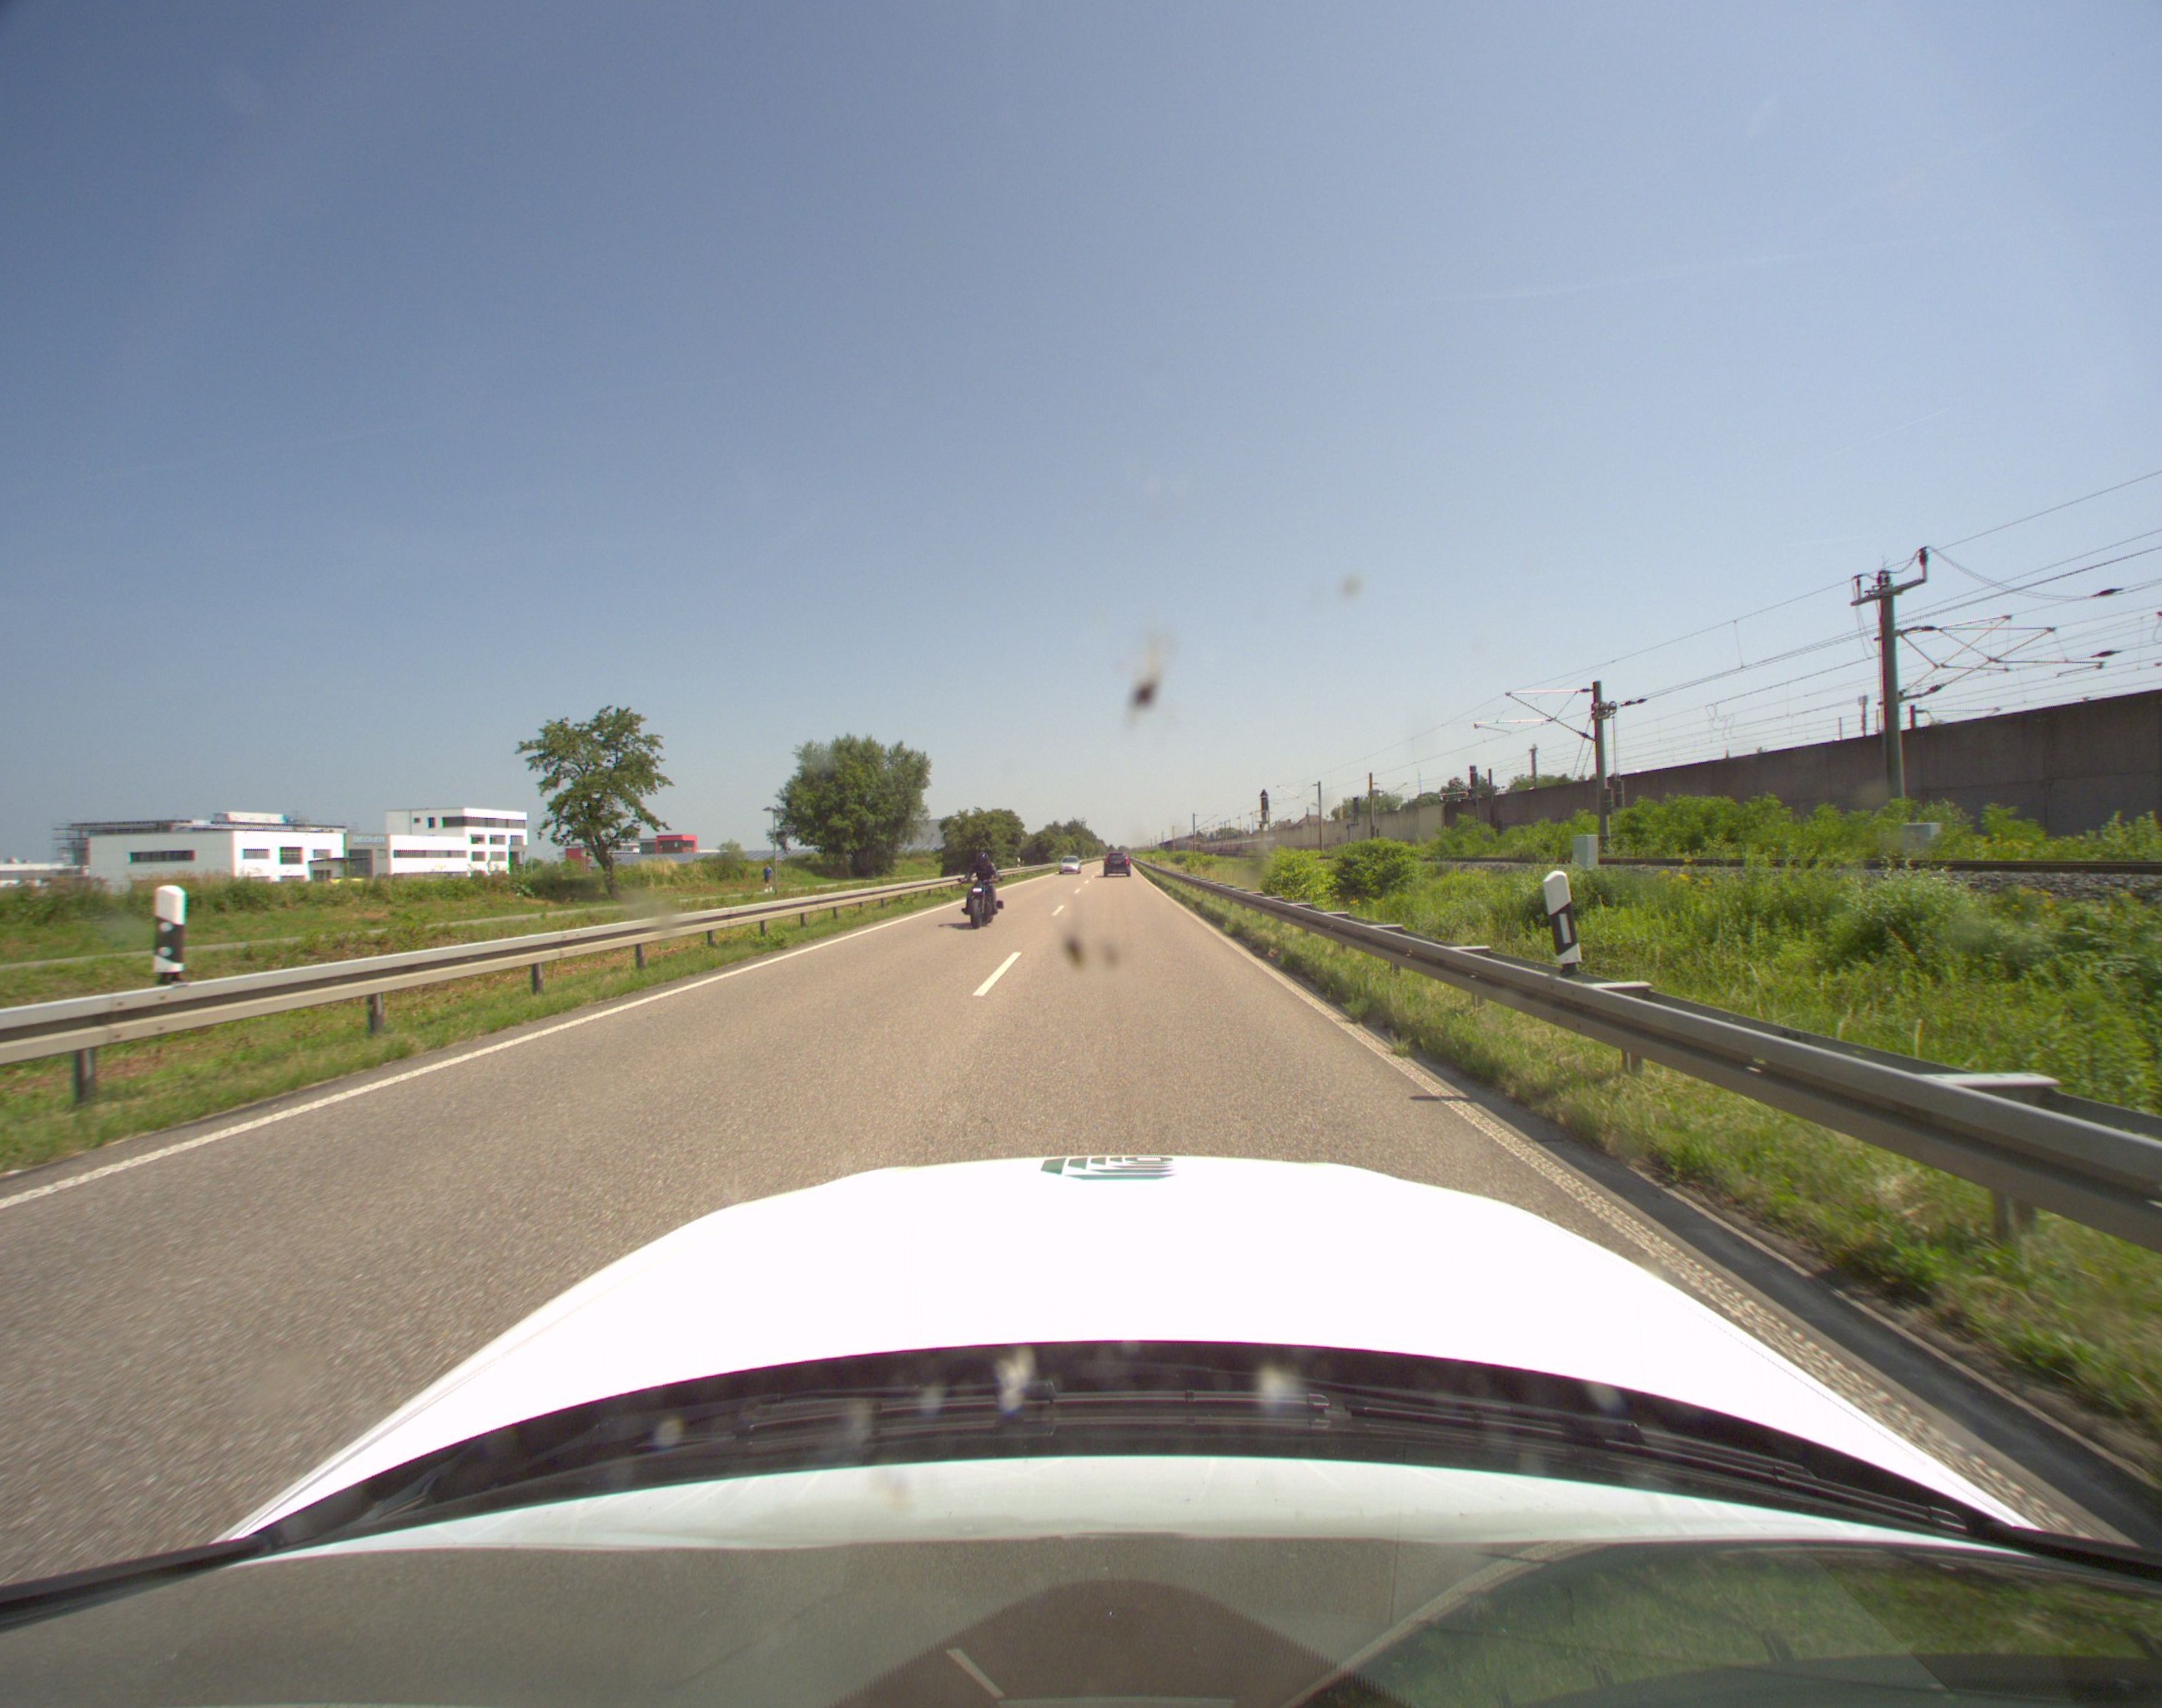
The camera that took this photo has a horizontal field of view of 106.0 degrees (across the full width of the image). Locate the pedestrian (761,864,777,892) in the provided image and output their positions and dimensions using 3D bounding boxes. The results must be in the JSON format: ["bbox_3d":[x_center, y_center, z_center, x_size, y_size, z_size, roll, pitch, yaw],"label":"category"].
[{"bbox_3d":[-19.993,1.541,52.143,0.576,1.750,0.822,-3,0,7],"label":"pedestrian"}]

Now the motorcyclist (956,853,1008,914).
[{"bbox_3d":[-2.197,0.643,18.193,0.989,1.310,0.936,0,0,2],"label":"motorcyclist"}]

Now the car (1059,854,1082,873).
[{"bbox_3d":[-0.866,0.774,68.069,1.691,1.475,4.689,0,0,2],"label":"car"}]

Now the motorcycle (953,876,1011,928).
[{"bbox_3d":[-2.185,1.045,18.270,0.924,1.028,2.269,0,0,2],"label":"motorcycle"}]

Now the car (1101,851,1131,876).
[{"bbox_3d":[2.457,0.637,57.651,1.987,1.700,4.000,-1,0,0],"label":"car"}]
